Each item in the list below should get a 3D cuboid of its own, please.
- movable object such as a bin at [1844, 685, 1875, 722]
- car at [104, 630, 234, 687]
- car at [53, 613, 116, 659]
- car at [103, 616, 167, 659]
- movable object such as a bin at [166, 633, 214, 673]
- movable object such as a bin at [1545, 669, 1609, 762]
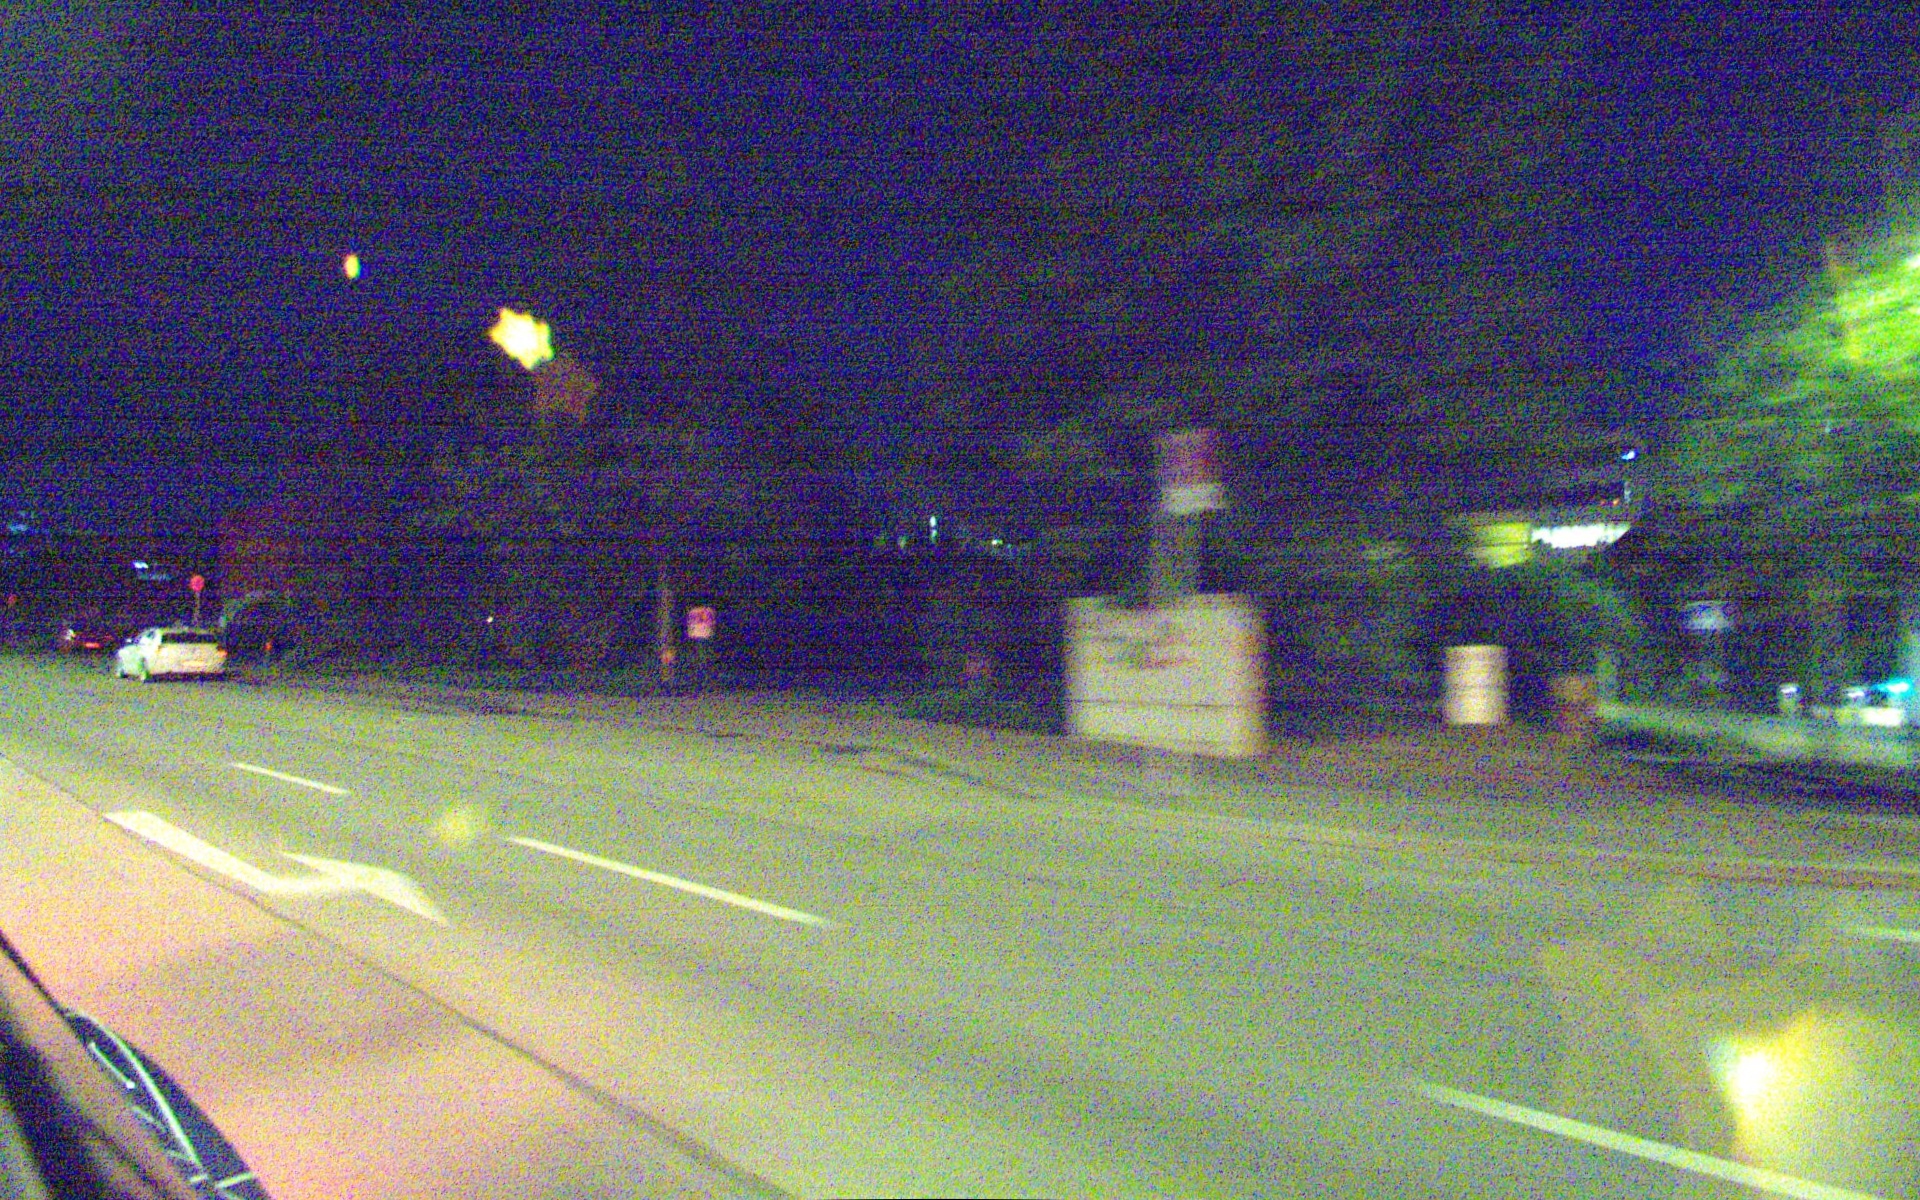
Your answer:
[{"bbox_3d":[33.063,3.786,37.210,0.561,1.317,0.620,2,-4,2],"label":"movable object such as a bin"},{"bbox_3d":[-21.470,1.538,27.412,4.334,1.414,1.892,-2,-3,40],"label":"car"},{"bbox_3d":[-47.588,1.953,54.966,4.967,2.339,1.971,-2,-5,43],"label":"car"},{"bbox_3d":[-46.758,2.125,57.322,4.624,2.339,2.183,-2,-4,43],"label":"car"},{"bbox_3d":[-29.216,1.999,38.418,1.063,1.507,1.153,-1,-3,36],"label":"movable object such as a bin"},{"bbox_3d":[9.163,1.701,15.042,0.561,1.317,0.620,2,-4,2],"label":"movable object such as a bin"}]
